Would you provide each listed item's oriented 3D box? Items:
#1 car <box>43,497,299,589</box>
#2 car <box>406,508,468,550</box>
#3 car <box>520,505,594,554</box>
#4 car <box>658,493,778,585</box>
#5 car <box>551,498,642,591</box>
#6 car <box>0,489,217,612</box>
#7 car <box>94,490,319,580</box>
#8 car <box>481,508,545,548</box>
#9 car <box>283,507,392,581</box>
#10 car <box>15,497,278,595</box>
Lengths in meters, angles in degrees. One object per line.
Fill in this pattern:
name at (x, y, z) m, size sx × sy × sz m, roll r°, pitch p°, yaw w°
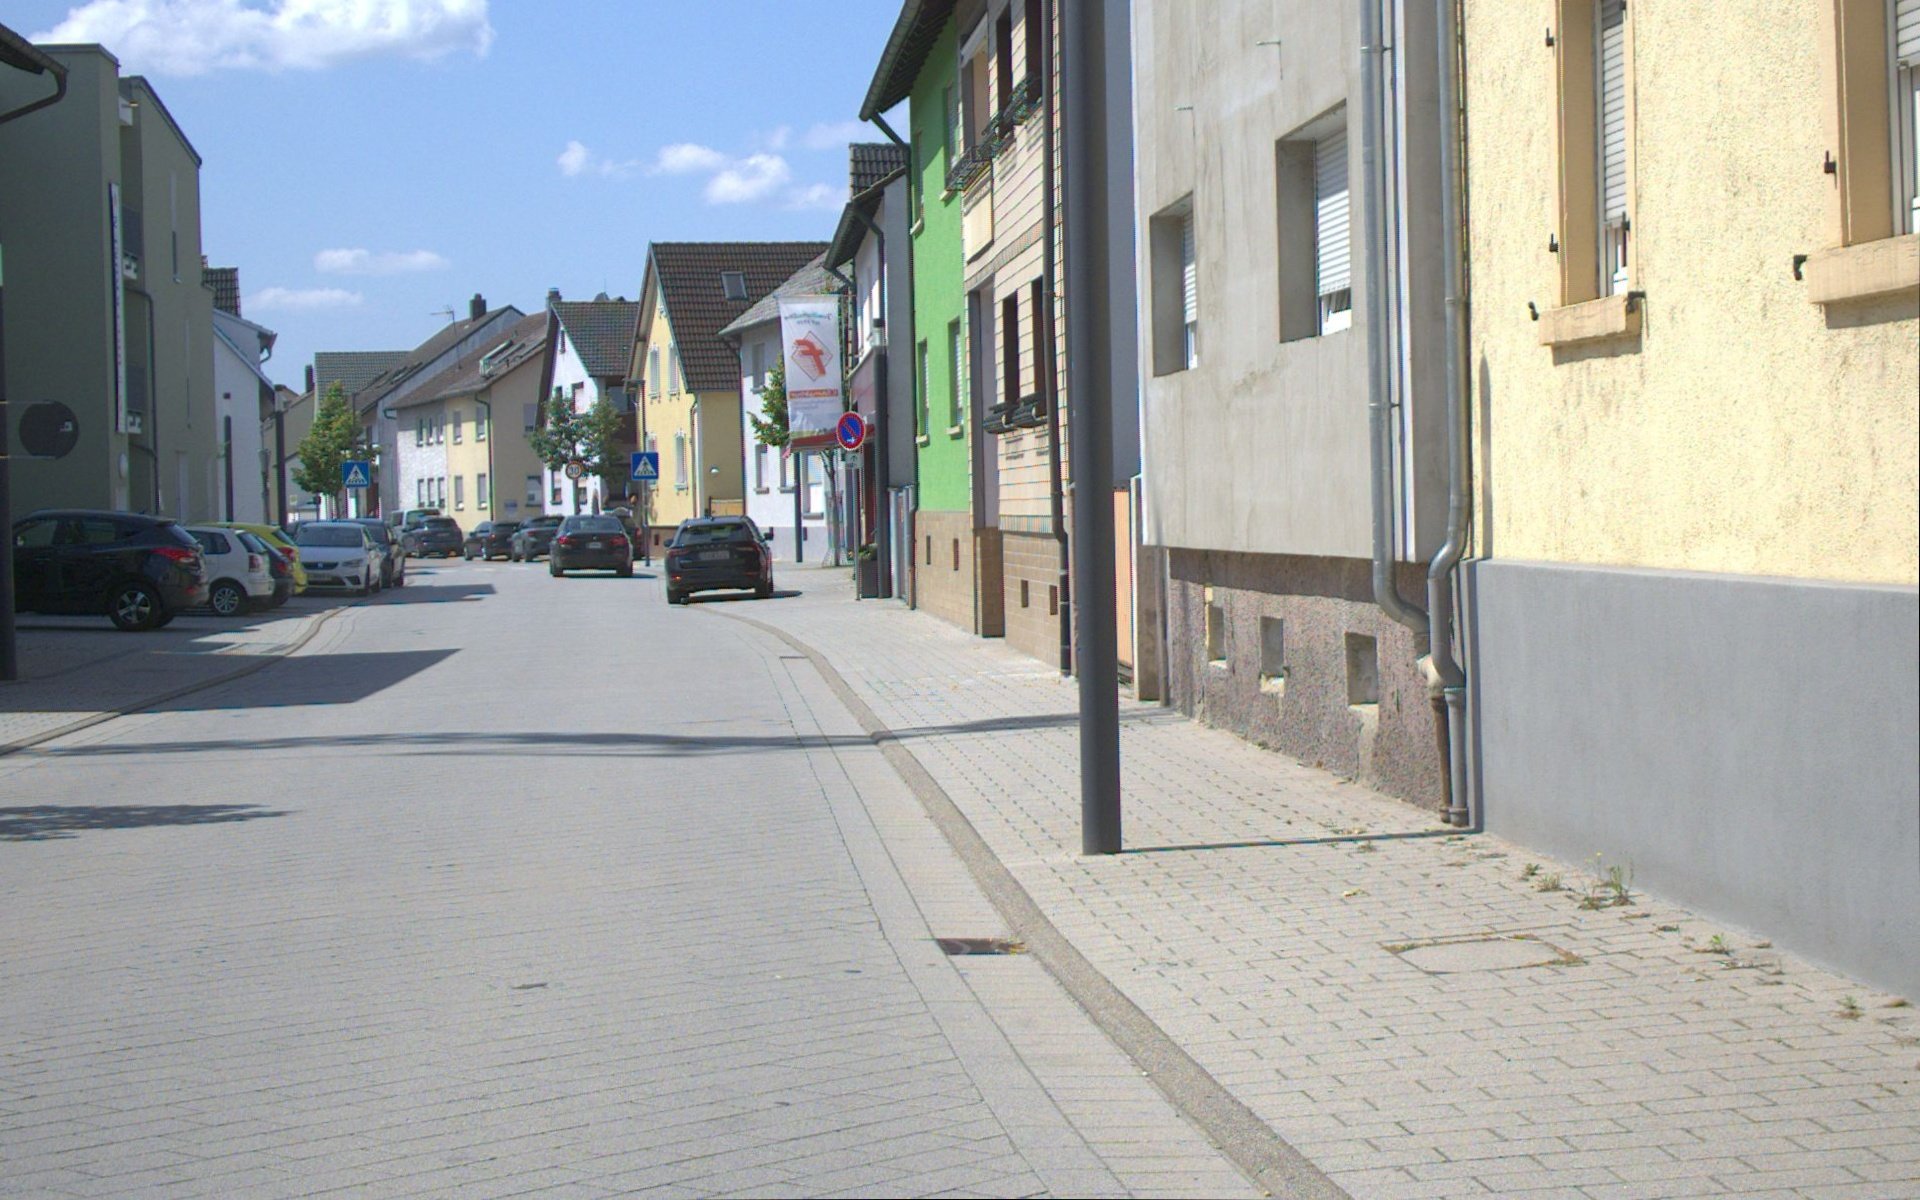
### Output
car at (-13.310, -0.970, 58.162) m, size 3.986 × 1.436 × 1.691 m, roll 1°, pitch 2°, yaw -4°
car at (-20.903, -2.839, 137.410) m, size 1.877 × 1.585 × 4.002 m, roll -2°, pitch 2°, yaw -16°
car at (-13.731, -2.402, 116.968) m, size 1.846 × 1.557 × 3.695 m, roll -2°, pitch 2°, yaw -16°
car at (-4.265, -1.116, 61.056) m, size 1.858 × 1.454 × 4.587 m, roll -3°, pitch 2°, yaw -2°
car at (-8.619, -1.335, 81.322) m, size 1.993 × 2.050 × 4.375 m, roll -2°, pitch 2°, yaw -7°
car at (-12.671, -0.710, 48.144) m, size 4.218 × 1.652 × 1.785 m, roll 1°, pitch 2°, yaw -5°
car at (-13.410, -1.172, 61.295) m, size 3.691 × 1.520 × 1.673 m, roll 1°, pitch 2°, yaw -3°
car at (-16.212, -2.618, 124.476) m, size 1.710 × 1.382 × 3.707 m, roll -2°, pitch 2°, yaw -16°
car at (-12.549, -1.156, 69.461) m, size 1.757 × 1.406 × 3.879 m, roll 0°, pitch 2°, yaw -4°
car at (-13.221, -0.890, 56.024) m, size 3.900 × 1.497 × 1.751 m, roll 1°, pitch 2°, yaw -3°
